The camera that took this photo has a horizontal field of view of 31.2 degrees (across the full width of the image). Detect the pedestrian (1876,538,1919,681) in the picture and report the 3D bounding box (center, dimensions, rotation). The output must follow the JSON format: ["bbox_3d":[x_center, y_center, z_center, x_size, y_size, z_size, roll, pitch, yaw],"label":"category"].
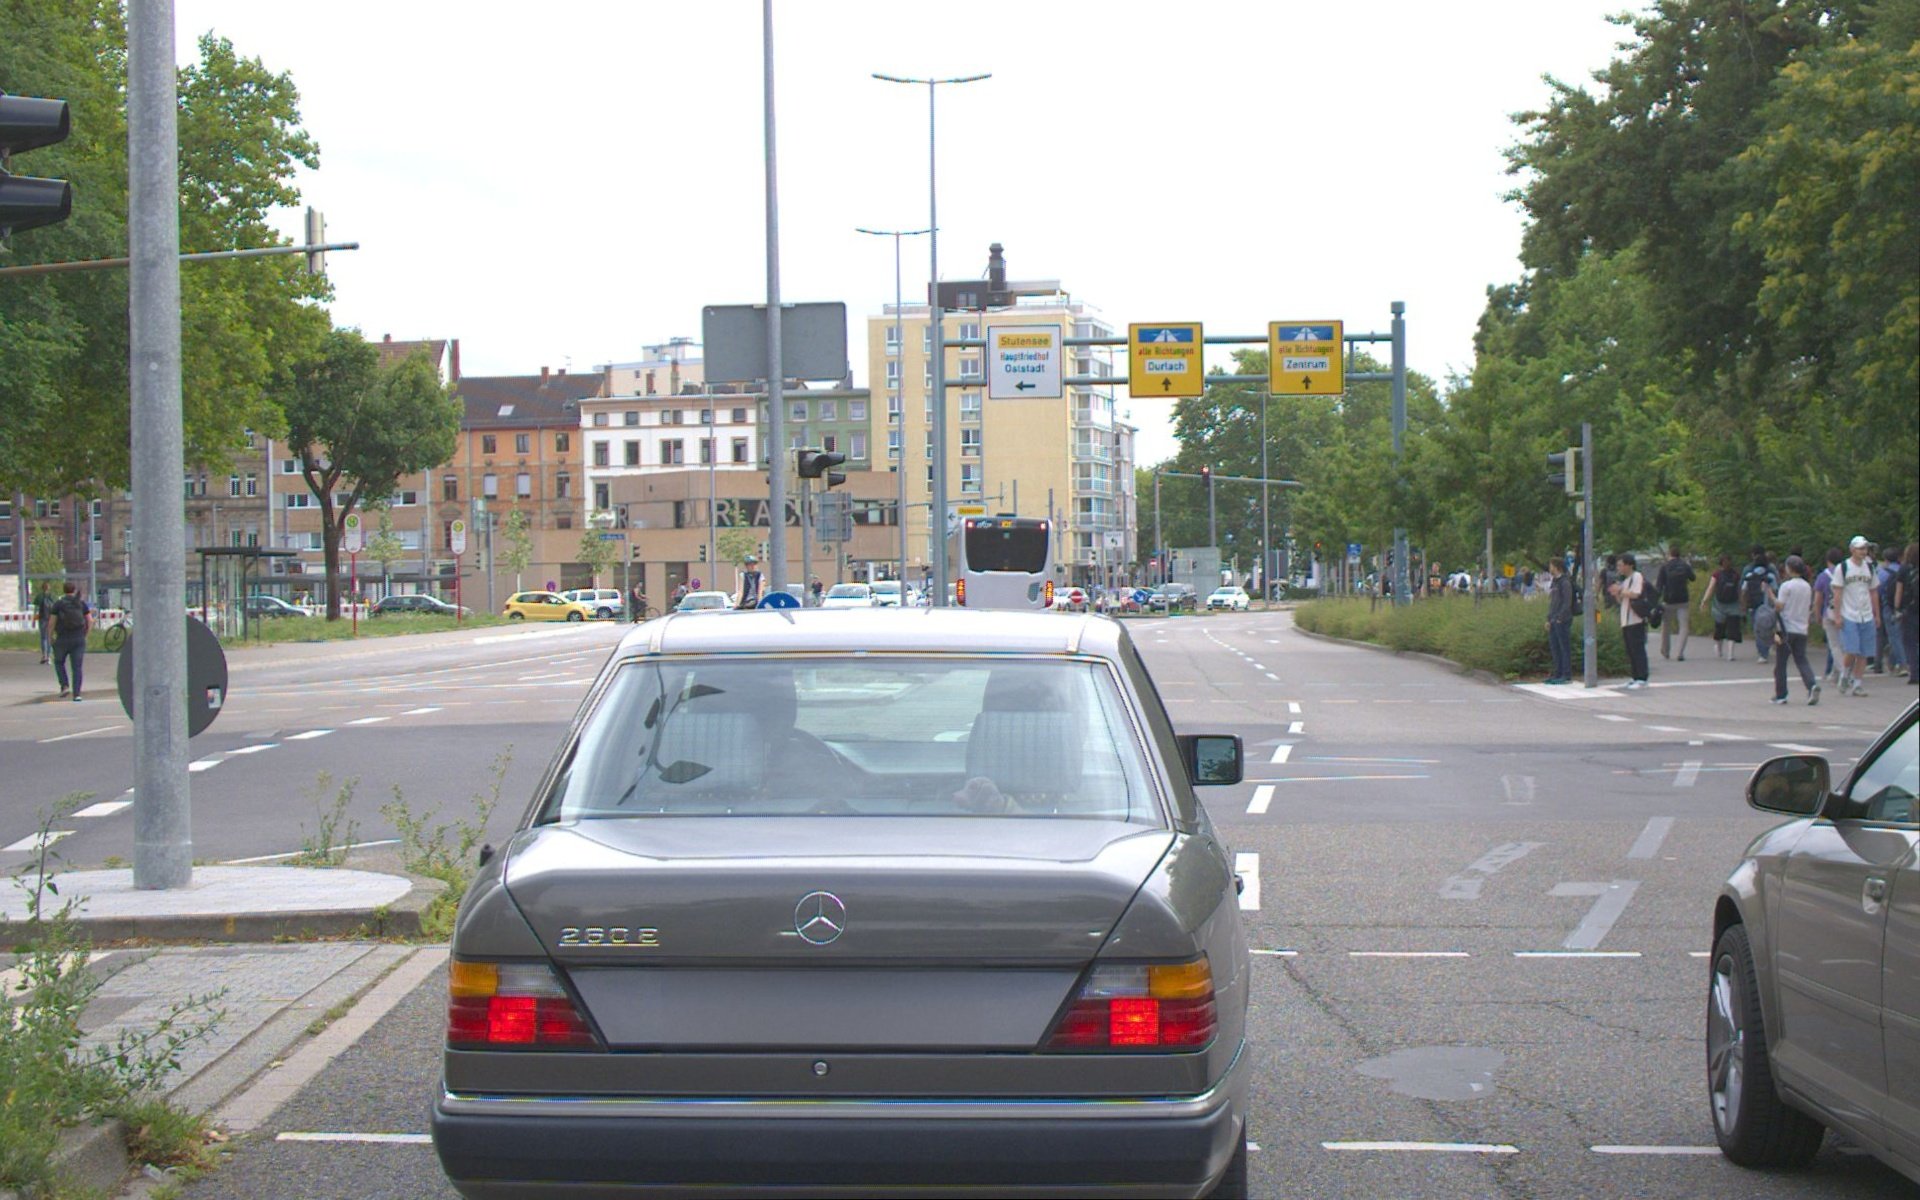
[{"bbox_3d":[11.679,0.112,42.182,0.656,1.739,0.780,-1,0,1],"label":"pedestrian"}]

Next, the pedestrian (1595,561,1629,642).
[{"bbox_3d":[13.652,0.020,71.982,0.587,1.677,0.748,-1,0,3],"label":"pedestrian"}]

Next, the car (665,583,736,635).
[{"bbox_3d":[-7.763,0.249,103.010,1.761,1.484,4.546,-1,0,0],"label":"car"}]

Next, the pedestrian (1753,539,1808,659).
[{"bbox_3d":[12.523,-0.018,52.500,0.656,1.815,0.812,-1,0,3],"label":"pedestrian"}]

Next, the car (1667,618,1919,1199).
[{"bbox_3d":[2.789,0.786,7.492,1.724,1.452,3.736,-1,0,0],"label":"car"}]

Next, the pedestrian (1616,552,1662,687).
[{"bbox_3d":[8.774,0.253,44.435,0.454,1.729,0.637,-1,0,1],"label":"pedestrian"}]

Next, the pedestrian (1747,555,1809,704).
[{"bbox_3d":[9.342,0.333,39.264,0.545,1.681,0.637,-1,0,1],"label":"pedestrian"}]

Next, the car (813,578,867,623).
[{"bbox_3d":[-4.112,-0.006,118.125,1.801,1.484,4.289,-1,0,-1],"label":"car"}]

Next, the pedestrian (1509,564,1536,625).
[{"bbox_3d":[15.996,-0.156,97.732,0.647,1.707,0.561,-1,0,18],"label":"pedestrian"}]

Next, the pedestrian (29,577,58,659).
[{"bbox_3d":[-18.760,0.371,70.396,0.560,1.662,0.627,0,-1,-14],"label":"pedestrian"}]

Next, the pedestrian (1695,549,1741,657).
[{"bbox_3d":[11.700,0.038,53.059,0.555,1.649,0.753,-1,0,3],"label":"pedestrian"}]

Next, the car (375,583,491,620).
[{"bbox_3d":[-22.325,0.077,145.724,4.669,1.471,1.660,1,-2,-2],"label":"car"}]

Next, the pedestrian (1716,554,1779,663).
[{"bbox_3d":[11.726,0.118,51.216,0.775,1.597,0.812,-1,0,3],"label":"pedestrian"}]

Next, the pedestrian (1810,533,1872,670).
[{"bbox_3d":[11.352,0.014,44.311,0.581,1.739,0.789,-1,0,1],"label":"pedestrian"}]

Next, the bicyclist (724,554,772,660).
[{"bbox_3d":[-3.158,0.106,51.264,0.572,1.568,0.699,0,0,7],"label":"bicyclist"}]

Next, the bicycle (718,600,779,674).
[{"bbox_3d":[-3.153,0.544,51.351,0.573,1.052,1.926,0,0,7],"label":"bicycle"}]

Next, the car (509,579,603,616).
[{"bbox_3d":[-17.171,-0.113,146.179,3.856,1.512,1.660,1,0,-2],"label":"car"}]

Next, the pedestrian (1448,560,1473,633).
[{"bbox_3d":[13.865,-0.095,95.210,0.614,2.007,0.597,0,0,2],"label":"pedestrian"}]

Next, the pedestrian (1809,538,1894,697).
[{"bbox_3d":[10.427,0.204,40.219,0.644,1.846,0.829,1,0,-11],"label":"pedestrian"}]

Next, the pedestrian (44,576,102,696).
[{"bbox_3d":[-13.268,0.542,51.394,0.758,1.776,0.722,0,-1,-21],"label":"pedestrian"}]

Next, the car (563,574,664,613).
[{"bbox_3d":[-15.242,-0.270,151.288,4.153,1.644,1.647,-1,0,-16],"label":"car"}]

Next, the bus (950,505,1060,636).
[{"bbox_3d":[1.236,-0.787,93.364,2.831,3.379,8.182,0,0,1],"label":"bus"}]

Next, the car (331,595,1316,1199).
[{"bbox_3d":[-0.271,0.751,8.273,1.761,1.484,4.171,-1,0,-1],"label":"car"}]

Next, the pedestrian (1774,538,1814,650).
[{"bbox_3d":[13.278,-0.096,54.762,0.484,1.757,0.664,-1,0,3],"label":"pedestrian"}]

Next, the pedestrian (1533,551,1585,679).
[{"bbox_3d":[8.197,0.204,47.060,0.601,1.729,0.654,-1,0,1],"label":"pedestrian"}]

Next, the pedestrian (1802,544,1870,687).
[{"bbox_3d":[10.767,0.184,42.285,0.624,1.739,0.780,-1,0,1],"label":"pedestrian"}]

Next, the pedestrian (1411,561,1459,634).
[{"bbox_3d":[12.100,-0.069,87.547,0.935,1.824,0.885,-1,0,30],"label":"pedestrian"}]

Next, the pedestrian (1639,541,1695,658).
[{"bbox_3d":[11.103,-0.010,54.011,0.693,1.815,0.954,-1,0,3],"label":"pedestrian"}]

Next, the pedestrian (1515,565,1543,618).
[{"bbox_3d":[15.568,-0.236,94.142,0.657,1.465,0.562,-1,0,-1],"label":"pedestrian"}]

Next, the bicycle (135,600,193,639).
[{"bbox_3d":[-19.366,0.474,83.719,0.470,0.915,2.338,-1,0,10],"label":"bicycle"}]
